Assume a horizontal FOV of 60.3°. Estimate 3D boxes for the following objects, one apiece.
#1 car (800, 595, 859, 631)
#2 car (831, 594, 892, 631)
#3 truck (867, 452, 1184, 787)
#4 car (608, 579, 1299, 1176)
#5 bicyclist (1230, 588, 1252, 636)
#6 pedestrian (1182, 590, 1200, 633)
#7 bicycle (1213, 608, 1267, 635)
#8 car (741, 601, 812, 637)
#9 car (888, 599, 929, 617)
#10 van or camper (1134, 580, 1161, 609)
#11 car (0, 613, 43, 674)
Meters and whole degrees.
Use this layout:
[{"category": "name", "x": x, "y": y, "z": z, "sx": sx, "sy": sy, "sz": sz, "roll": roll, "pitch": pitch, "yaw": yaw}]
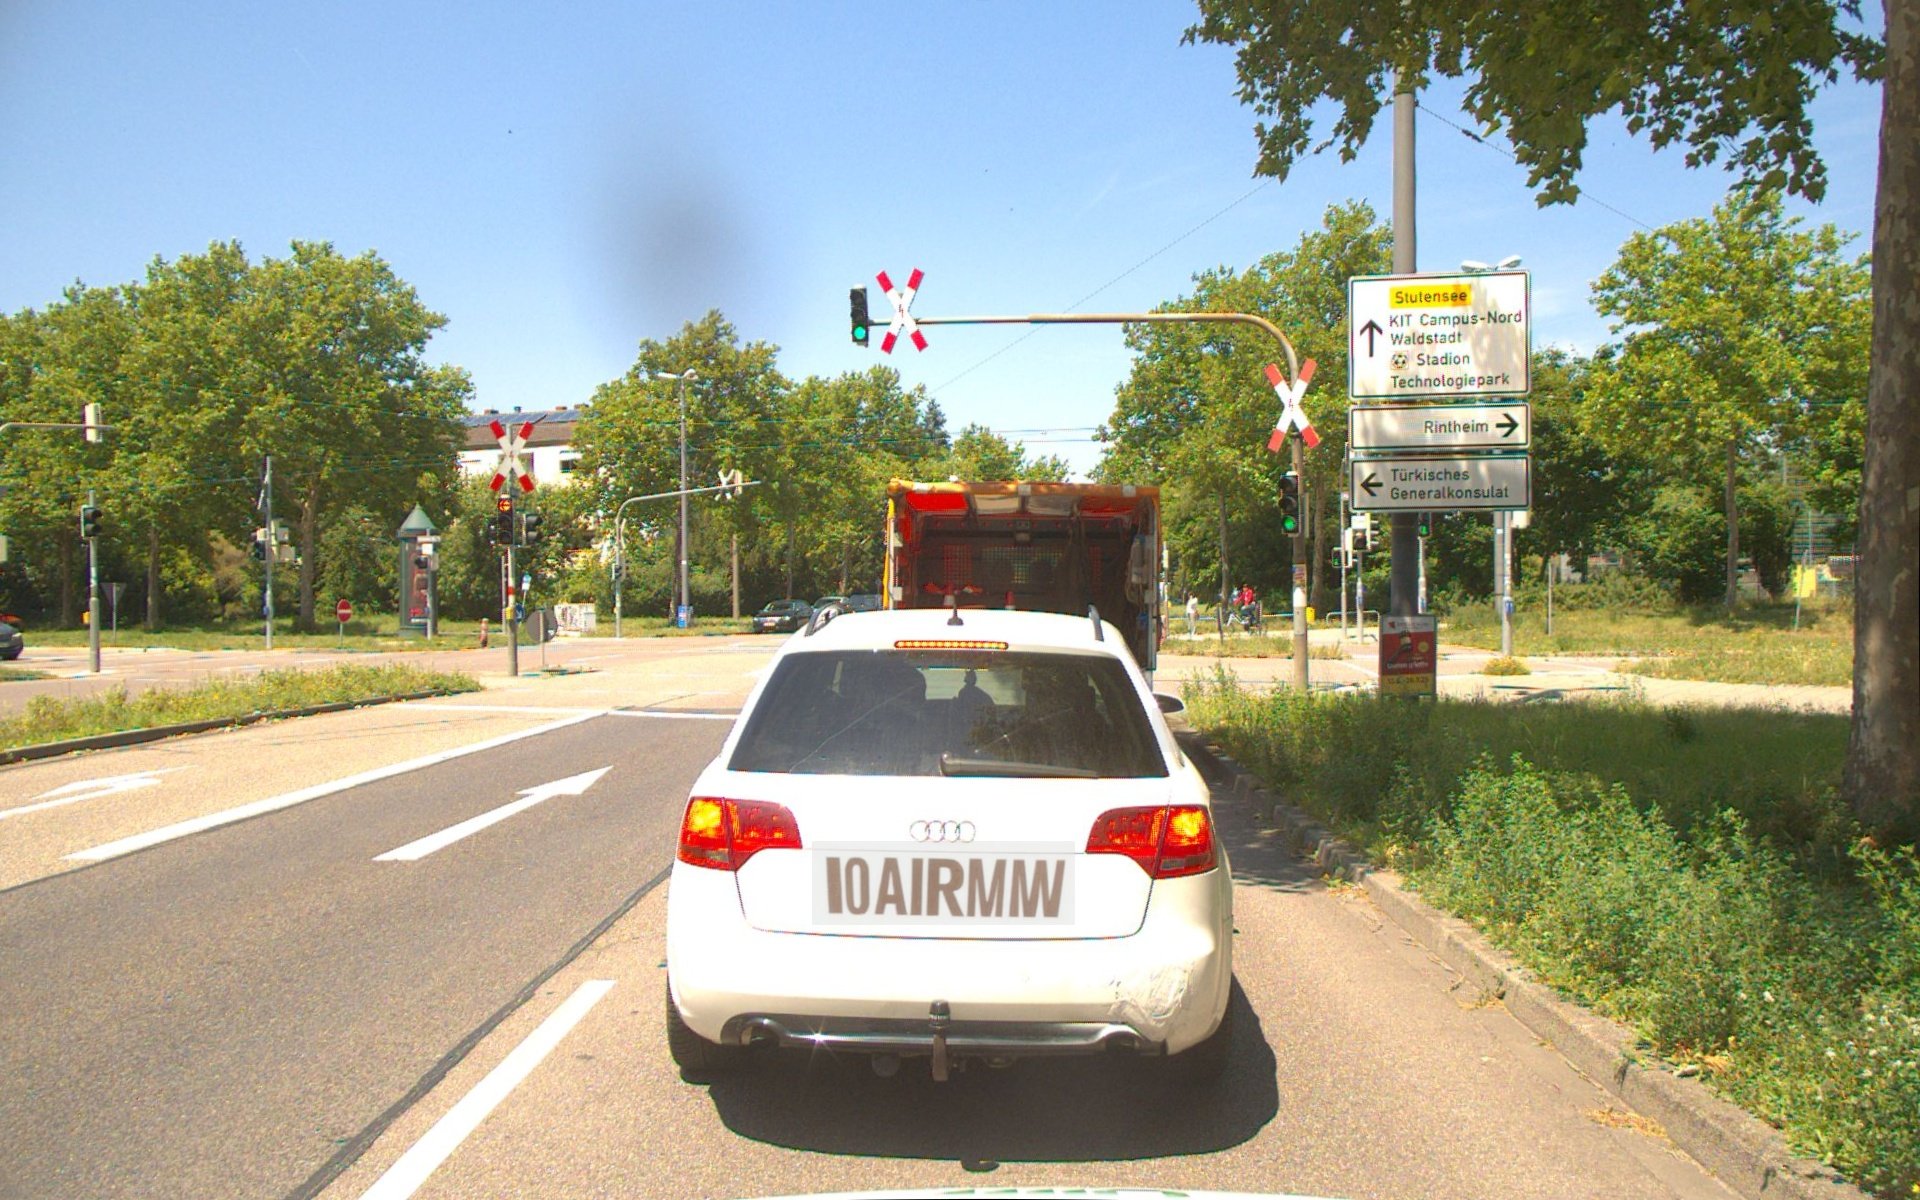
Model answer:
[{"category": "car", "x": -6.324, "y": 0.612, "z": 80.645, "sx": 1.749, "sy": 1.643, "sz": 4.408, "roll": -1, "pitch": 0, "yaw": 11}, {"category": "car", "x": -4.376, "y": 0.521, "z": 74.053, "sx": 1.868, "sy": 1.566, "sz": 4.302, "roll": -1, "pitch": 0, "yaw": 8}, {"category": "truck", "x": 0.669, "y": 0.158, "z": 16.845, "sx": 2.459, "sy": 2.604, "sz": 7.605, "roll": 1, "pitch": 0, "yaw": 2}, {"category": "car", "x": 0.081, "y": 0.681, "z": 5.959, "sx": 1.725, "sy": 1.470, "sz": 3.617, "roll": 0, "pitch": 0, "yaw": 3}, {"category": "bicyclist", "x": 9.508, "y": 0.407, "z": 55.963, "sx": 0.657, "sy": 1.583, "sz": 0.580, "roll": 0, "pitch": 0, "yaw": 4}, {"category": "pedestrian", "x": 8.166, "y": 0.418, "z": 58.376, "sx": 0.541, "sy": 1.510, "sz": 0.630, "roll": -1, "pitch": 0, "yaw": 16}, {"category": "bicycle", "x": 9.474, "y": 0.720, "z": 55.963, "sx": 1.767, "sy": 0.911, "sz": 0.589, "roll": 0, "pitch": 0, "yaw": 4}, {"category": "car", "x": -8.112, "y": 0.816, "z": 73.519, "sx": 1.907, "sy": 1.465, "sz": 4.751, "roll": 0, "pitch": 1, "yaw": 10}, {"category": "car", "x": -4.333, "y": 0.665, "z": 139.110, "sx": 1.844, "sy": 1.417, "sz": 3.997, "roll": 0, "pitch": 0, "yaw": 26}, {"category": "van or camper", "x": 22.777, "y": -0.641, "z": 200.577, "sx": 2.604, "sy": 3.389, "sz": 5.505, "roll": 0, "pitch": 0, "yaw": 14}, {"category": "car", "x": -25.216, "y": 1.089, "z": 41.908, "sx": 3.907, "sy": 1.483, "sz": 1.760, "roll": -1, "pitch": 0, "yaw": 32}]
